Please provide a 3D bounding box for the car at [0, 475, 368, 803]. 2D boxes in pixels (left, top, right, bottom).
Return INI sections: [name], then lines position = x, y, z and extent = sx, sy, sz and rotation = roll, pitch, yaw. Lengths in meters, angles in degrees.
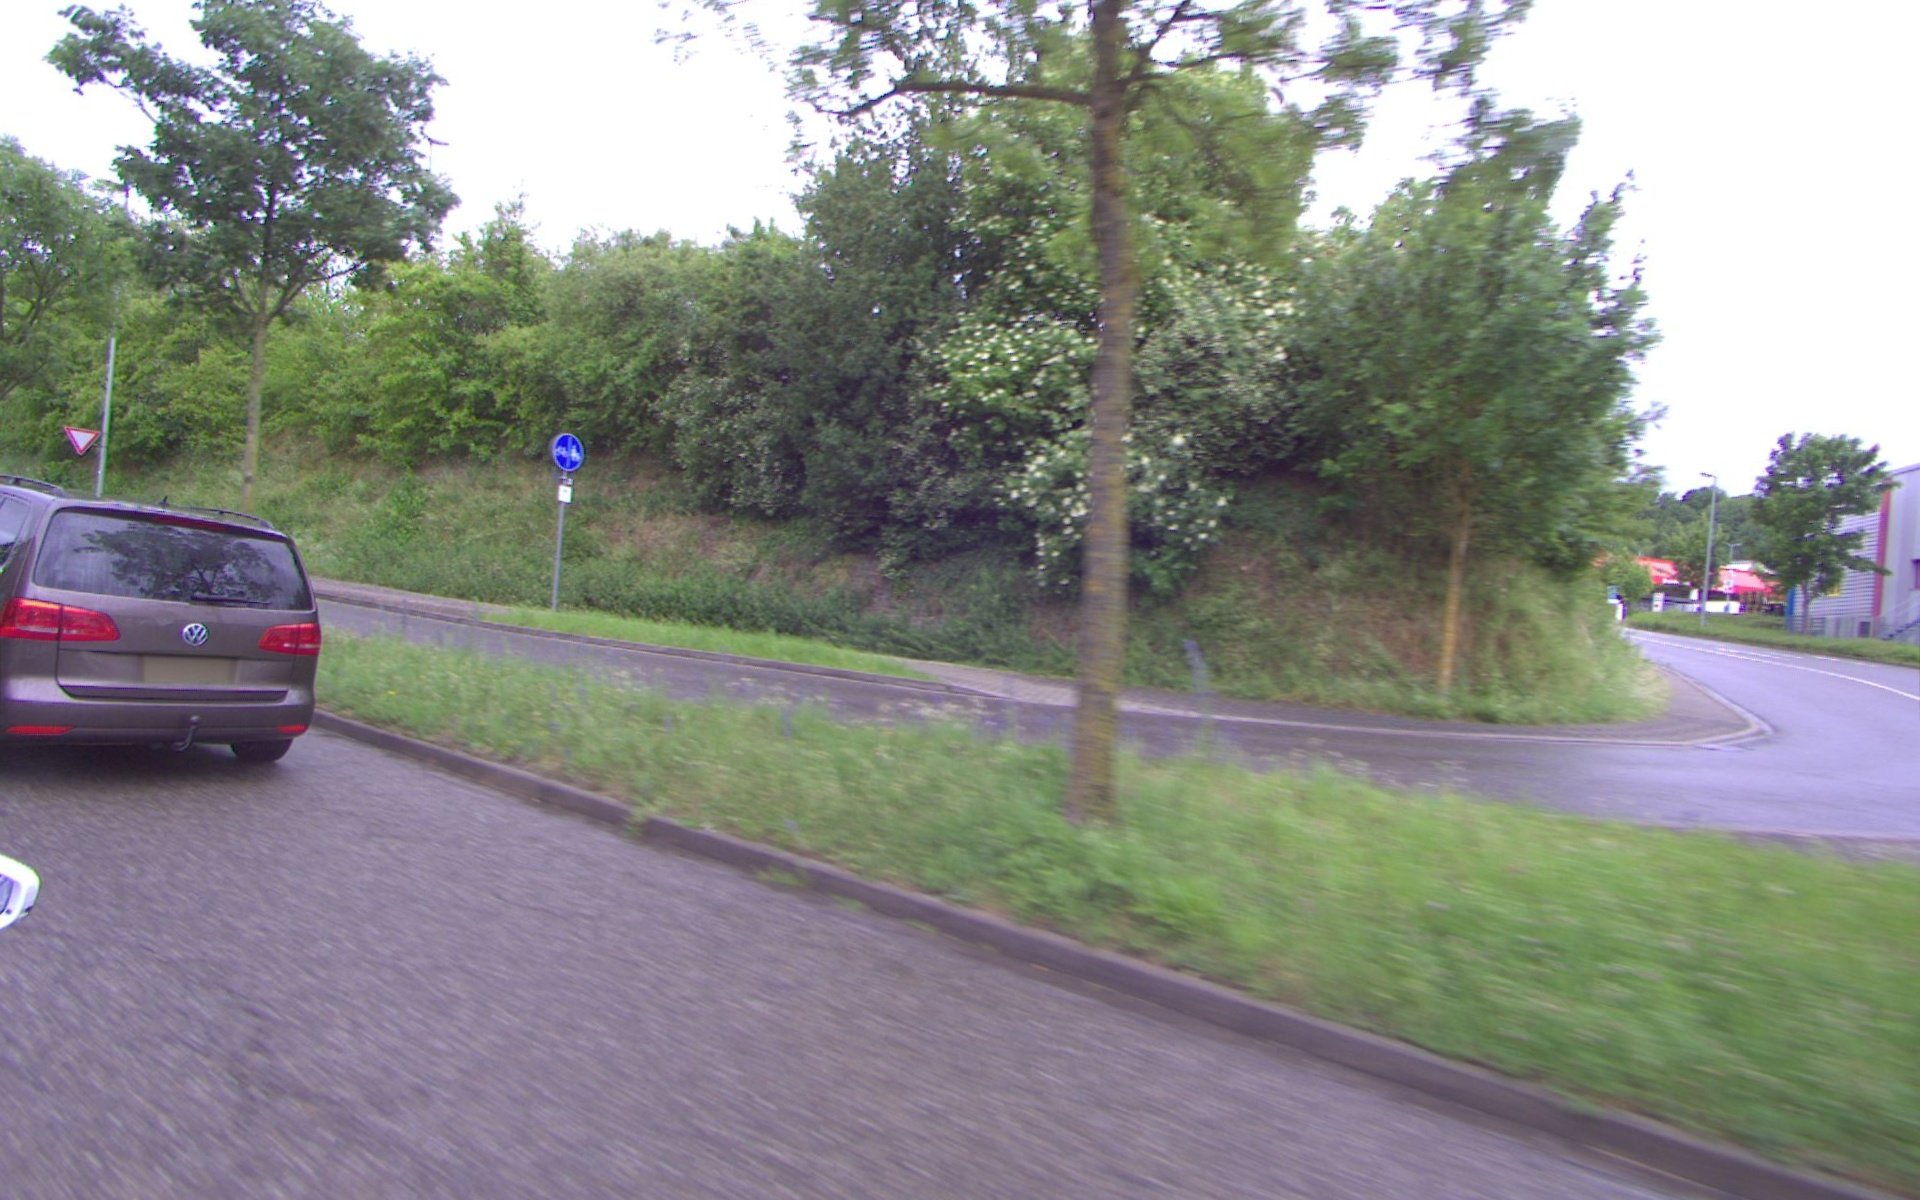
[car]
position = -6.039, 0.070, 6.649
extent = 4.147, 1.599, 1.689
rotation = 7, -2, 30
